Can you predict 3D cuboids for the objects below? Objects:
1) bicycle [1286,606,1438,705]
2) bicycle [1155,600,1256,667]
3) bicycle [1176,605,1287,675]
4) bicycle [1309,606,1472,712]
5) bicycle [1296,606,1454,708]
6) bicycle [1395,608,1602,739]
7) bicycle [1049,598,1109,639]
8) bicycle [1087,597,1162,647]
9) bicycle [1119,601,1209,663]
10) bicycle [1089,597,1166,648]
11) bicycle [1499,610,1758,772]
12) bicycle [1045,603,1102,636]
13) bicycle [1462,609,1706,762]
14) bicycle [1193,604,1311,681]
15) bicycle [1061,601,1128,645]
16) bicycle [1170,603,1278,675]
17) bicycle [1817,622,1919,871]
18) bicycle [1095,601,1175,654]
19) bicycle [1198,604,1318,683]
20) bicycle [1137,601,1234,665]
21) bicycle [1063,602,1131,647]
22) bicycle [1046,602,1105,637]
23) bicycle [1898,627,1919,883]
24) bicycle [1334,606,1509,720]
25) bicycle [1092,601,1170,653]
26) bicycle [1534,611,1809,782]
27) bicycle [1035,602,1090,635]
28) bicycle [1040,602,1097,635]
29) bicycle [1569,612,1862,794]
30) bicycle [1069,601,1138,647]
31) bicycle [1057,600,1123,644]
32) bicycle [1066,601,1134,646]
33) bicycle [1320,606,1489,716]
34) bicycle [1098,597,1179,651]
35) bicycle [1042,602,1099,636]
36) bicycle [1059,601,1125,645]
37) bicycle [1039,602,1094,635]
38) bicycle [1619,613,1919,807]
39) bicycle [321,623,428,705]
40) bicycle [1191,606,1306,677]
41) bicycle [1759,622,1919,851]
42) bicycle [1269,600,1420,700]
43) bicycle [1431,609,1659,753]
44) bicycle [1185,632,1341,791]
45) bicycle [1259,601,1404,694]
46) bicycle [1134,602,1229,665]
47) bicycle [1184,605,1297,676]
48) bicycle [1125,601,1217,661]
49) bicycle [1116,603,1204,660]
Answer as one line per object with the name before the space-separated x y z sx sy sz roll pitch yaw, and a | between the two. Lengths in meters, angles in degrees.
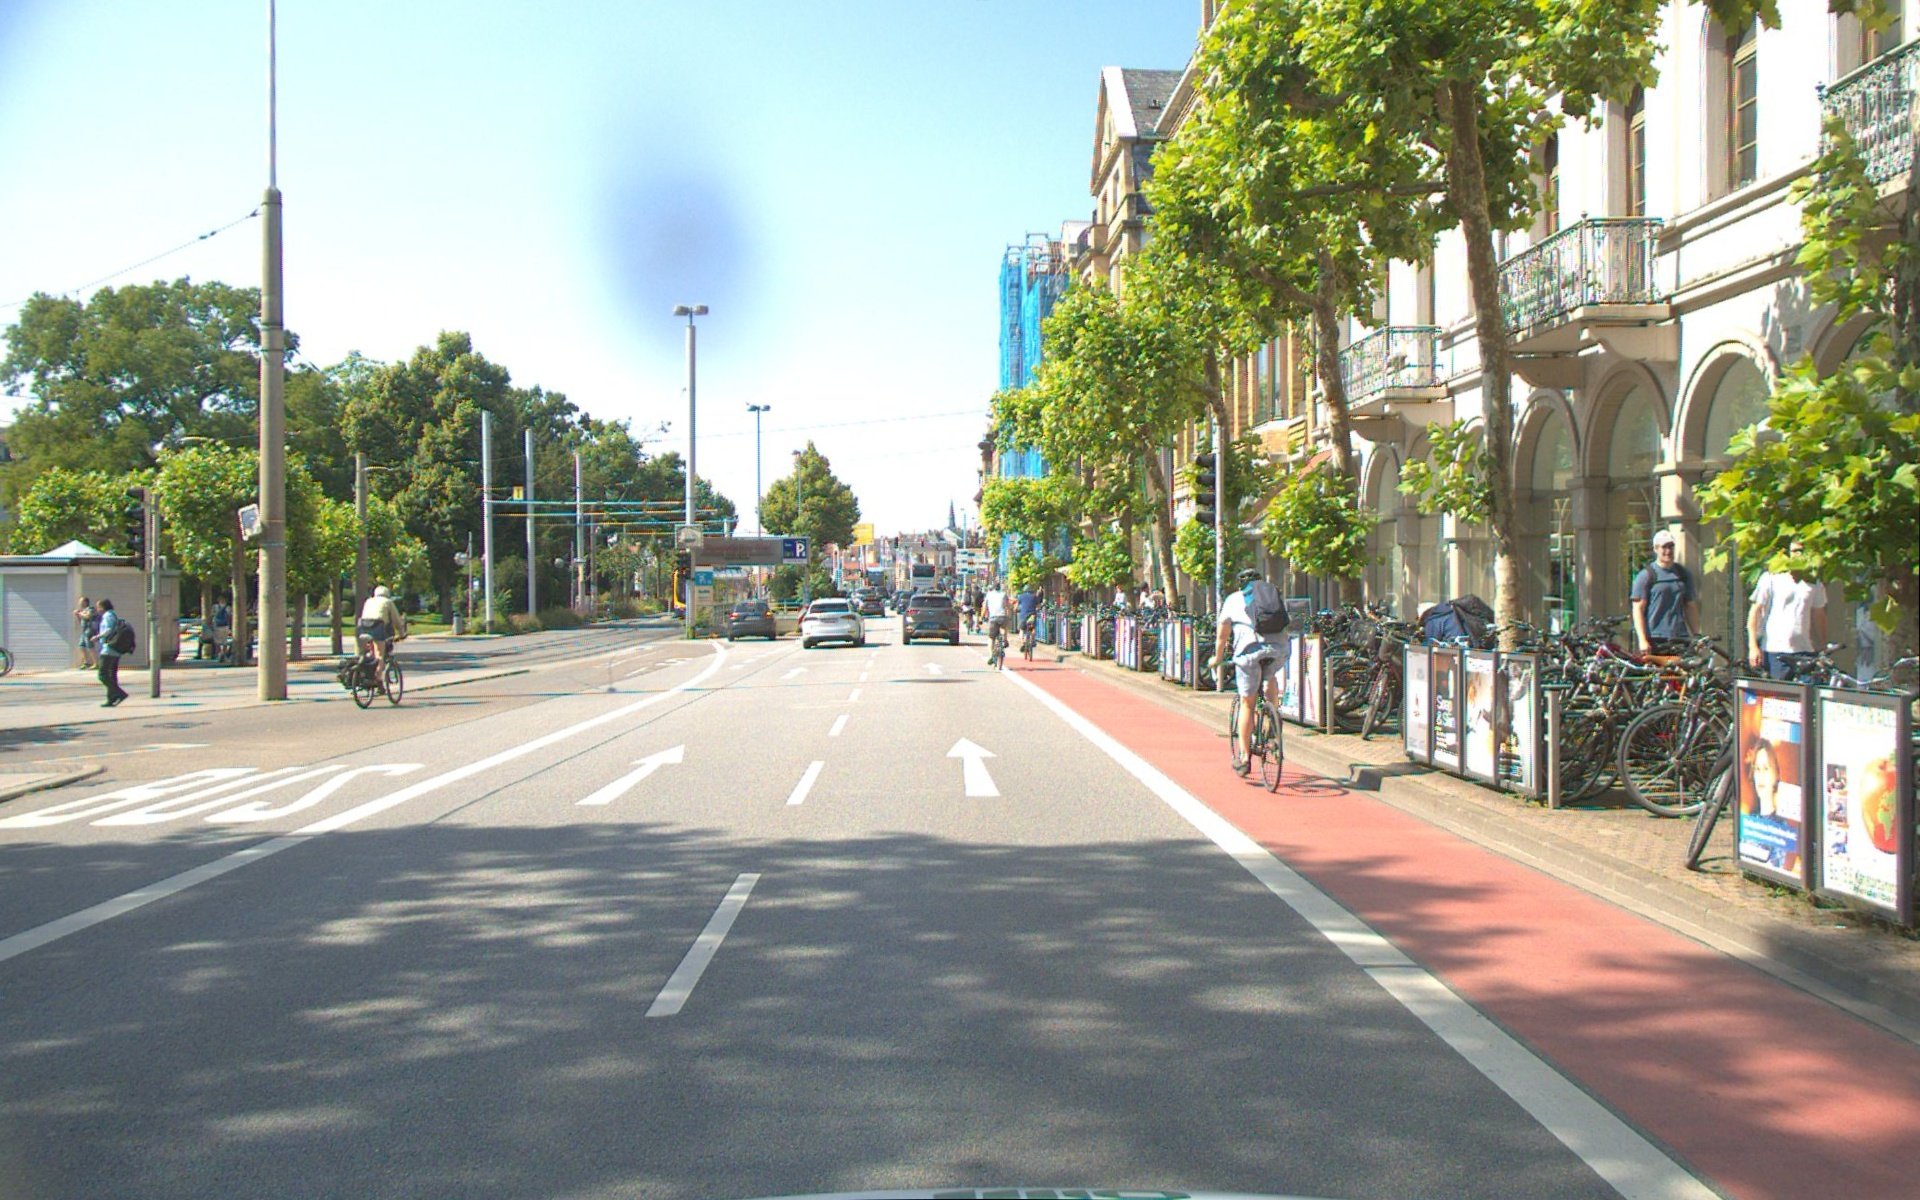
bicycle | 4.827 0.653 19.881 1.718 1.167 0.482 0 0 -5
bicycle | 4.328 0.588 29.192 1.718 1.167 0.482 0 0 -5
bicycle | 4.409 0.642 26.925 1.718 1.124 0.482 0 0 -5
bicycle | 4.831 0.653 18.606 1.718 1.167 0.482 0 0 -5
bicycle | 4.819 0.653 19.243 1.718 1.167 0.482 0 0 -5
bicycle | 4.940 0.658 15.209 1.718 1.167 0.592 0 0 -5
bicycle | 3.475 0.538 48.326 1.718 1.167 0.482 0 0 -5
bicycle | 3.868 0.514 38.935 1.718 1.167 0.482 0 0 -5
bicycle | 4.048 0.630 32.862 1.718 1.208 0.482 0 0 -5
bicycle | 3.894 0.520 38.424 1.718 1.167 0.482 0 0 -5
bicycle | 4.990 0.665 12.384 1.718 1.167 0.592 0 0 -5
bicycle | 3.446 0.594 50.273 1.683 1.002 0.482 0 0 -5
bicycle | 4.929 0.663 13.110 1.718 1.167 0.592 0 0 -5
bicycle | 4.465 0.643 25.308 1.718 1.167 0.482 0 0 -5
bicycle | 3.561 0.608 43.895 1.718 1.167 0.482 0 0 -5
bicycle | 4.373 0.639 27.455 1.718 1.167 0.482 0 0 -5
bicycle | 5.248 0.697 8.206 1.718 1.167 0.592 0 0 -5
bicycle | 3.907 0.616 36.882 1.718 1.167 0.482 0 0 -5
bicycle | 4.459 0.643 24.792 1.718 1.167 0.482 0 0 -5
bicycle | 4.161 0.603 30.518 1.718 1.167 0.482 0 0 -5
bicycle | 3.594 0.634 43.396 1.718 1.167 0.482 0 0 -5
bicycle | 3.476 0.584 49.615 1.718 1.036 0.482 0 0 -5
bicycle | 5.249 0.707 7.482 1.718 1.167 0.592 0 0 -5
bicycle | 4.855 0.653 17.435 1.718 1.167 0.482 0 0 -5
bicycle | 3.914 0.618 37.922 1.718 1.167 0.482 0 0 -5
bicycle | 5.017 0.666 11.710 1.718 1.167 0.592 0 0 -5
bicycle | 3.303 0.591 53.262 1.718 1.036 0.482 0 0 -5
bicycle | 3.418 0.591 52.150 1.718 1.036 0.482 0 0 -5
bicycle | 5.042 0.669 11.078 1.718 1.167 0.592 0 0 -5
bicycle | 3.667 0.610 42.387 1.718 1.167 0.482 0 0 -5
bicycle | 3.524 0.597 44.870 1.718 1.167 0.482 0 0 -5
bicycle | 3.631 0.610 42.897 1.718 1.167 0.482 0 0 -5
bicycle | 4.824 0.651 17.980 1.718 1.167 0.482 0 0 -5
bicycle | 3.913 0.517 36.308 1.718 1.167 0.499 0 0 -5
bicycle | 3.409 0.594 51.098 1.718 1.036 0.482 0 0 -5
bicycle | 3.542 0.607 44.374 1.718 1.167 0.482 0 0 -5
bicycle | 3.388 0.591 52.722 1.718 1.036 0.482 0 0 -5
bicycle | 5.106 0.669 10.381 1.718 1.167 0.592 0 0 -5
bicycle | -8.956 0.957 25.380 0.800 1.140 1.875 -3 0 5
bicycle | 4.504 0.643 25.852 1.718 1.087 0.482 0 0 -5
bicycle | 5.226 0.702 8.821 1.718 1.167 0.517 0 0 -5
bicycle | 4.754 0.612 20.500 1.764 1.215 0.482 0 0 -5
bicycle | 4.890 0.661 13.872 1.718 1.167 0.592 0 0 -5
bicycle | 2.390 0.849 13.306 0.719 1.112 2.129 1 0 -4
bicycle | 4.723 0.596 21.045 1.739 1.167 0.482 0 0 -5
bicycle | 4.166 0.632 31.141 1.718 1.167 0.527 0 0 -5
bicycle | 4.469 0.642 26.359 1.718 1.106 0.482 0 0 -5
bicycle | 4.111 0.601 32.271 1.718 1.167 0.482 0 0 -5
bicycle | 4.047 0.627 33.488 1.718 1.143 0.482 0 0 -5
